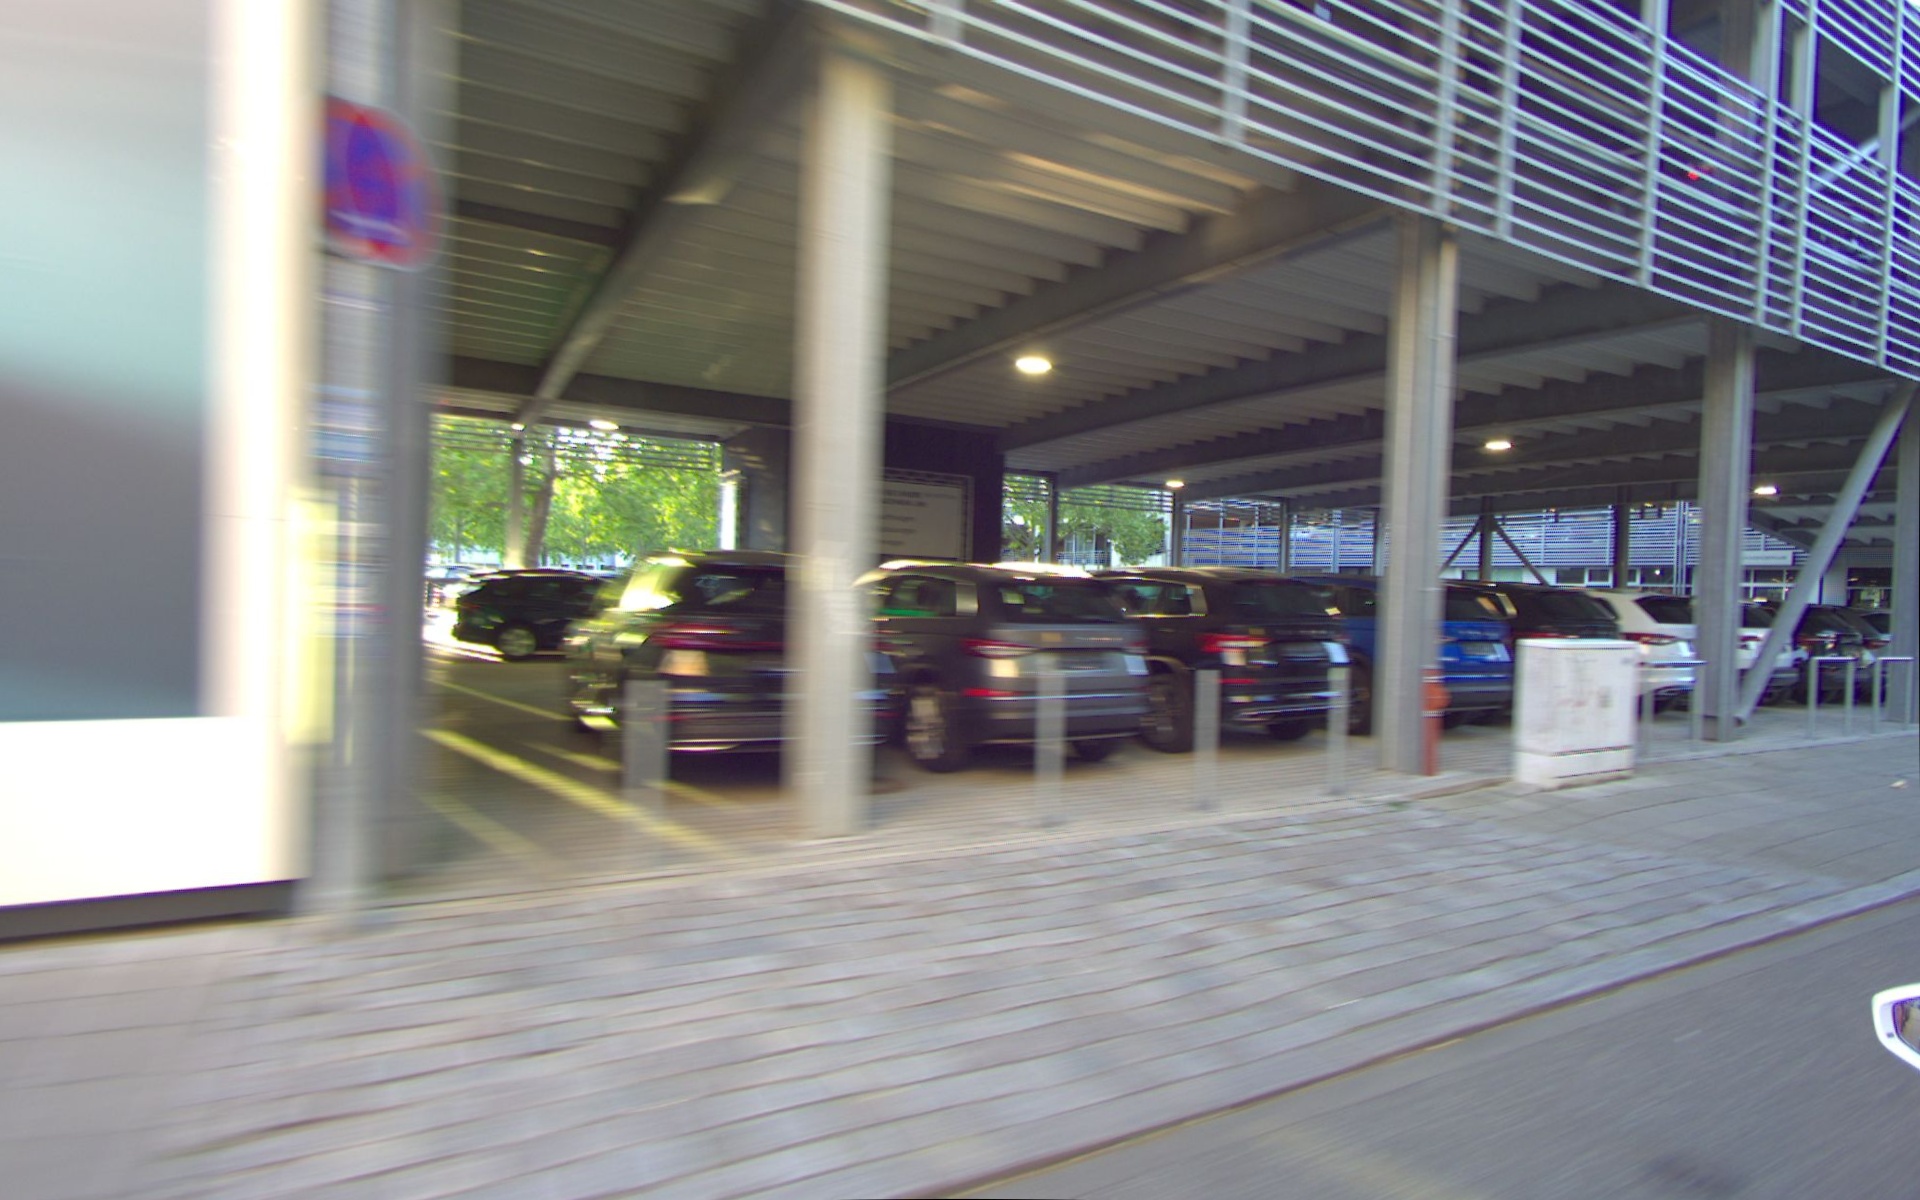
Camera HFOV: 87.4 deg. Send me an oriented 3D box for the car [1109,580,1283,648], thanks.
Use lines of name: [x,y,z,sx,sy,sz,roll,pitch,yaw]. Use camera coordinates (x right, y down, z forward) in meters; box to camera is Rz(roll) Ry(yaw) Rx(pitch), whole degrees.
car: [5.507,0.281,23.930,1.837,1.474,4.058,1,1,-28]

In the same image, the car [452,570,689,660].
car: [-7.100,0.281,18.366,3.824,1.473,1.809,2,1,-29]

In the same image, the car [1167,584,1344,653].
car: [7.208,0.393,24.926,1.837,1.541,4.188,1,1,-28]

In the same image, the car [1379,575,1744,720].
car: [8.190,0.533,14.088,1.837,1.706,4.009,1,1,-28]

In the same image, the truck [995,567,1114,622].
truck: [4.743,-0.350,51.833,2.417,2.602,6.879,2,1,-32]

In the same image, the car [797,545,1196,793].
car: [0.052,0.447,9.194,1.837,1.706,4.149,1,1,-28]

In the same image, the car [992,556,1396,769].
car: [2.118,0.471,10.261,1.837,1.706,4.019,1,1,-28]

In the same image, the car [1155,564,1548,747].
car: [4.262,0.493,11.622,1.837,1.706,4.019,1,1,-28]

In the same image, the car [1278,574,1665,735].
car: [6.299,0.544,12.901,1.837,1.706,4.132,1,1,-28]

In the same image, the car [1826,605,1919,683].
car: [22.234,1.010,22.356,1.837,1.706,4.070,1,1,-28]

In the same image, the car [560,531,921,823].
car: [-2.009,0.423,8.082,1.837,1.706,4.026,1,1,-28]

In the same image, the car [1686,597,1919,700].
car: [16.410,0.830,18.893,1.837,1.706,4.086,1,1,-28]

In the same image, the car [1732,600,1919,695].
car: [18.200,0.903,20.038,1.837,1.706,4.048,1,1,-28]

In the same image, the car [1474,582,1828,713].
car: [10.337,0.600,15.372,1.837,1.706,4.067,1,1,-28]

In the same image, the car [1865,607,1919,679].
car: [24.282,1.074,23.610,1.837,1.706,4.063,1,1,-28]

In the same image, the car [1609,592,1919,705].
car: [14.180,0.742,17.843,1.837,1.706,4.086,1,1,-28]

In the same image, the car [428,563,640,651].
car: [-8.733,0.143,20.604,3.824,1.639,1.809,2,2,-29]

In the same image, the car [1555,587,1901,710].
car: [12.295,0.673,16.384,1.837,1.706,4.086,1,1,-28]

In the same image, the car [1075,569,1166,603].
car: [8.484,-0.727,53.074,4.341,1.595,2.283,2,1,-33]
